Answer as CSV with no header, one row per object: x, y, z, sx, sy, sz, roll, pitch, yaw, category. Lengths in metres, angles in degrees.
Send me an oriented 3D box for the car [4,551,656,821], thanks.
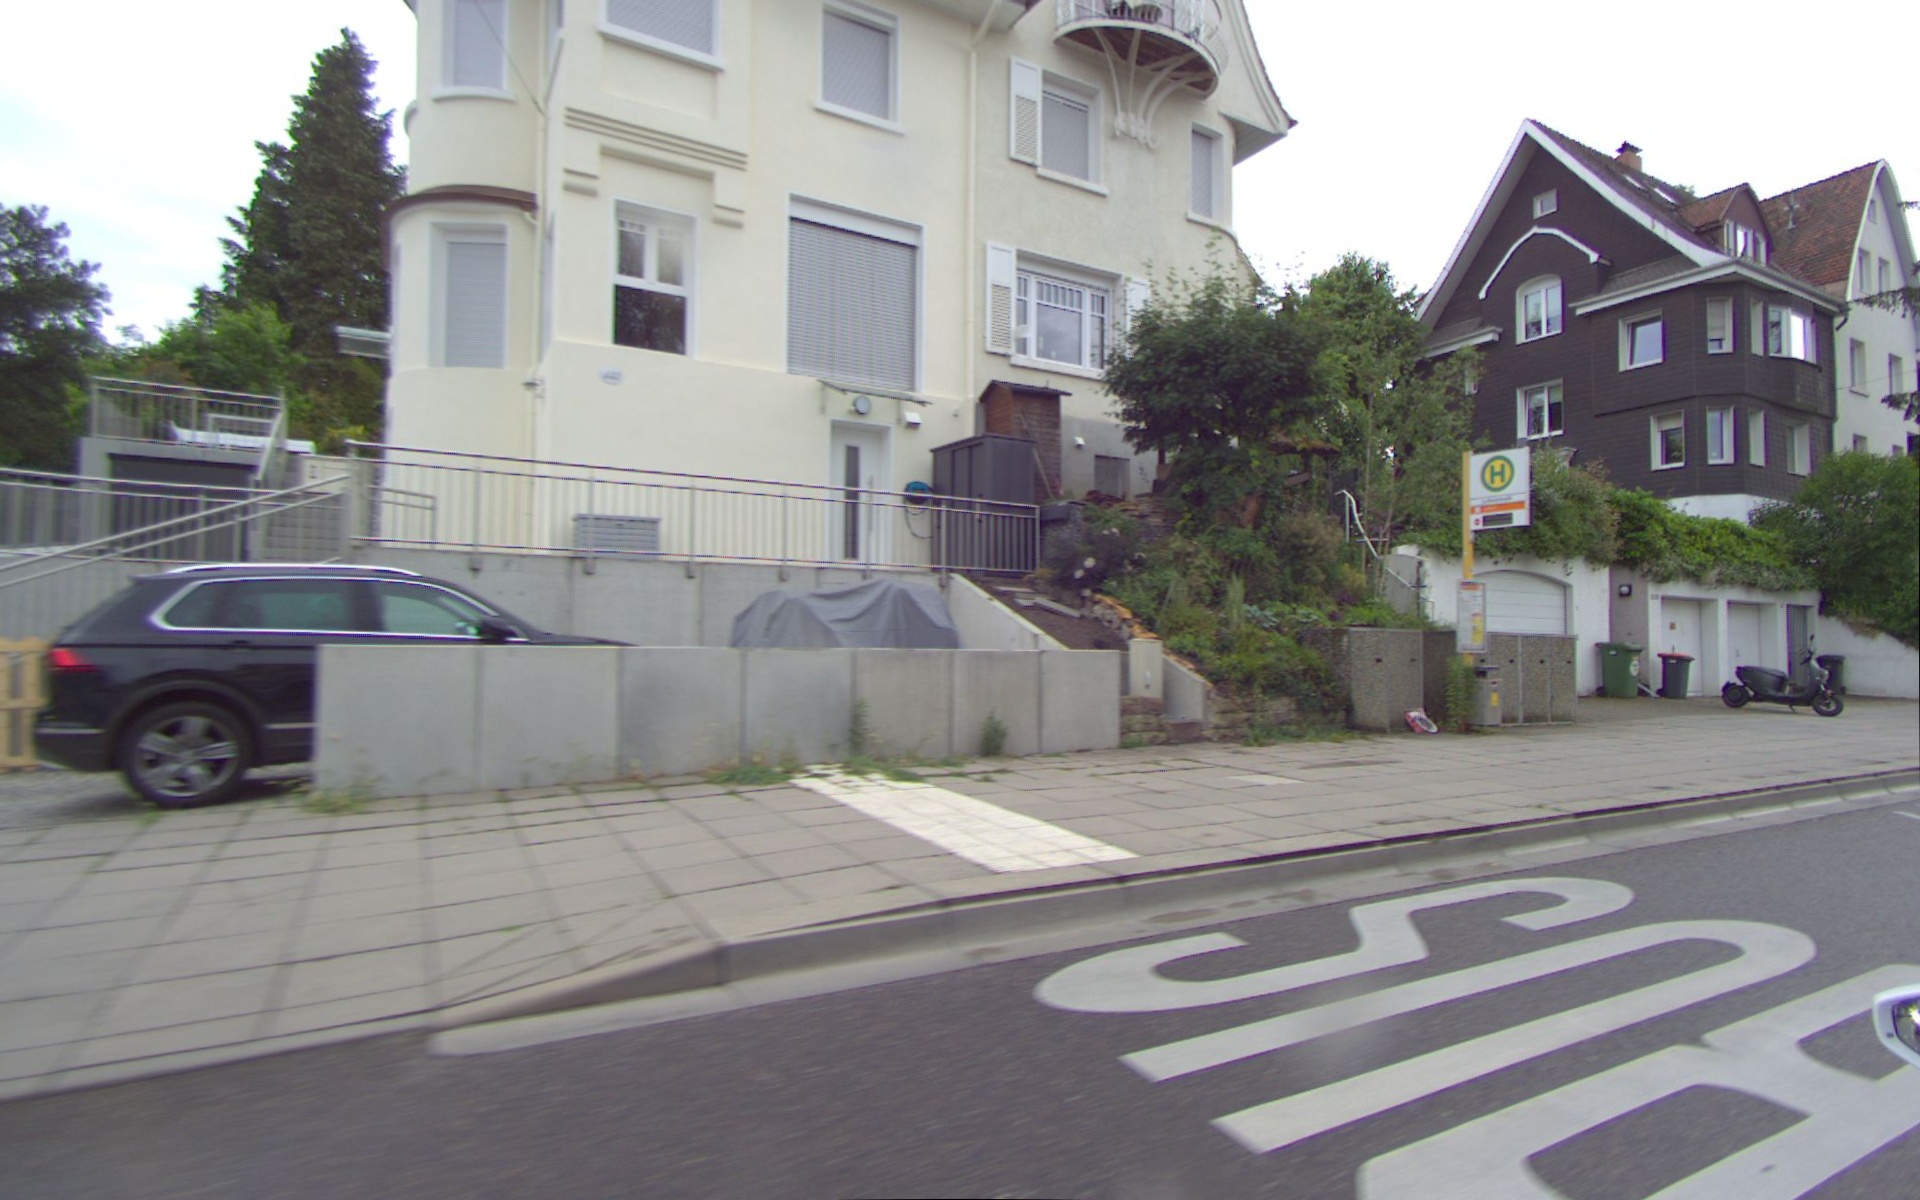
-4.640,0.532,7.943,3.958,1.639,1.755,0,-1,-34,car

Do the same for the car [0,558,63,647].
-19.129,-0.021,19.445,1.801,1.577,4.342,0,2,-31,car

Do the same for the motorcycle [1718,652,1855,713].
14.675,1.437,17.888,0.596,0.915,1.786,2,0,-29,motorcycle

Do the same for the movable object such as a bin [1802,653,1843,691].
20.997,1.749,24.465,0.609,0.901,0.488,-1,-1,16,movable object such as a bin

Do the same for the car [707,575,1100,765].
-0.541,0.645,10.952,3.958,1.719,1.755,0,-1,-34,car

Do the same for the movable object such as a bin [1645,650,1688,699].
14.550,1.531,20.692,0.508,0.966,0.570,0,-1,-34,movable object such as a bin

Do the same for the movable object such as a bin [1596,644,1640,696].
12.909,1.365,19.705,0.508,0.966,0.570,0,-1,-34,movable object such as a bin
